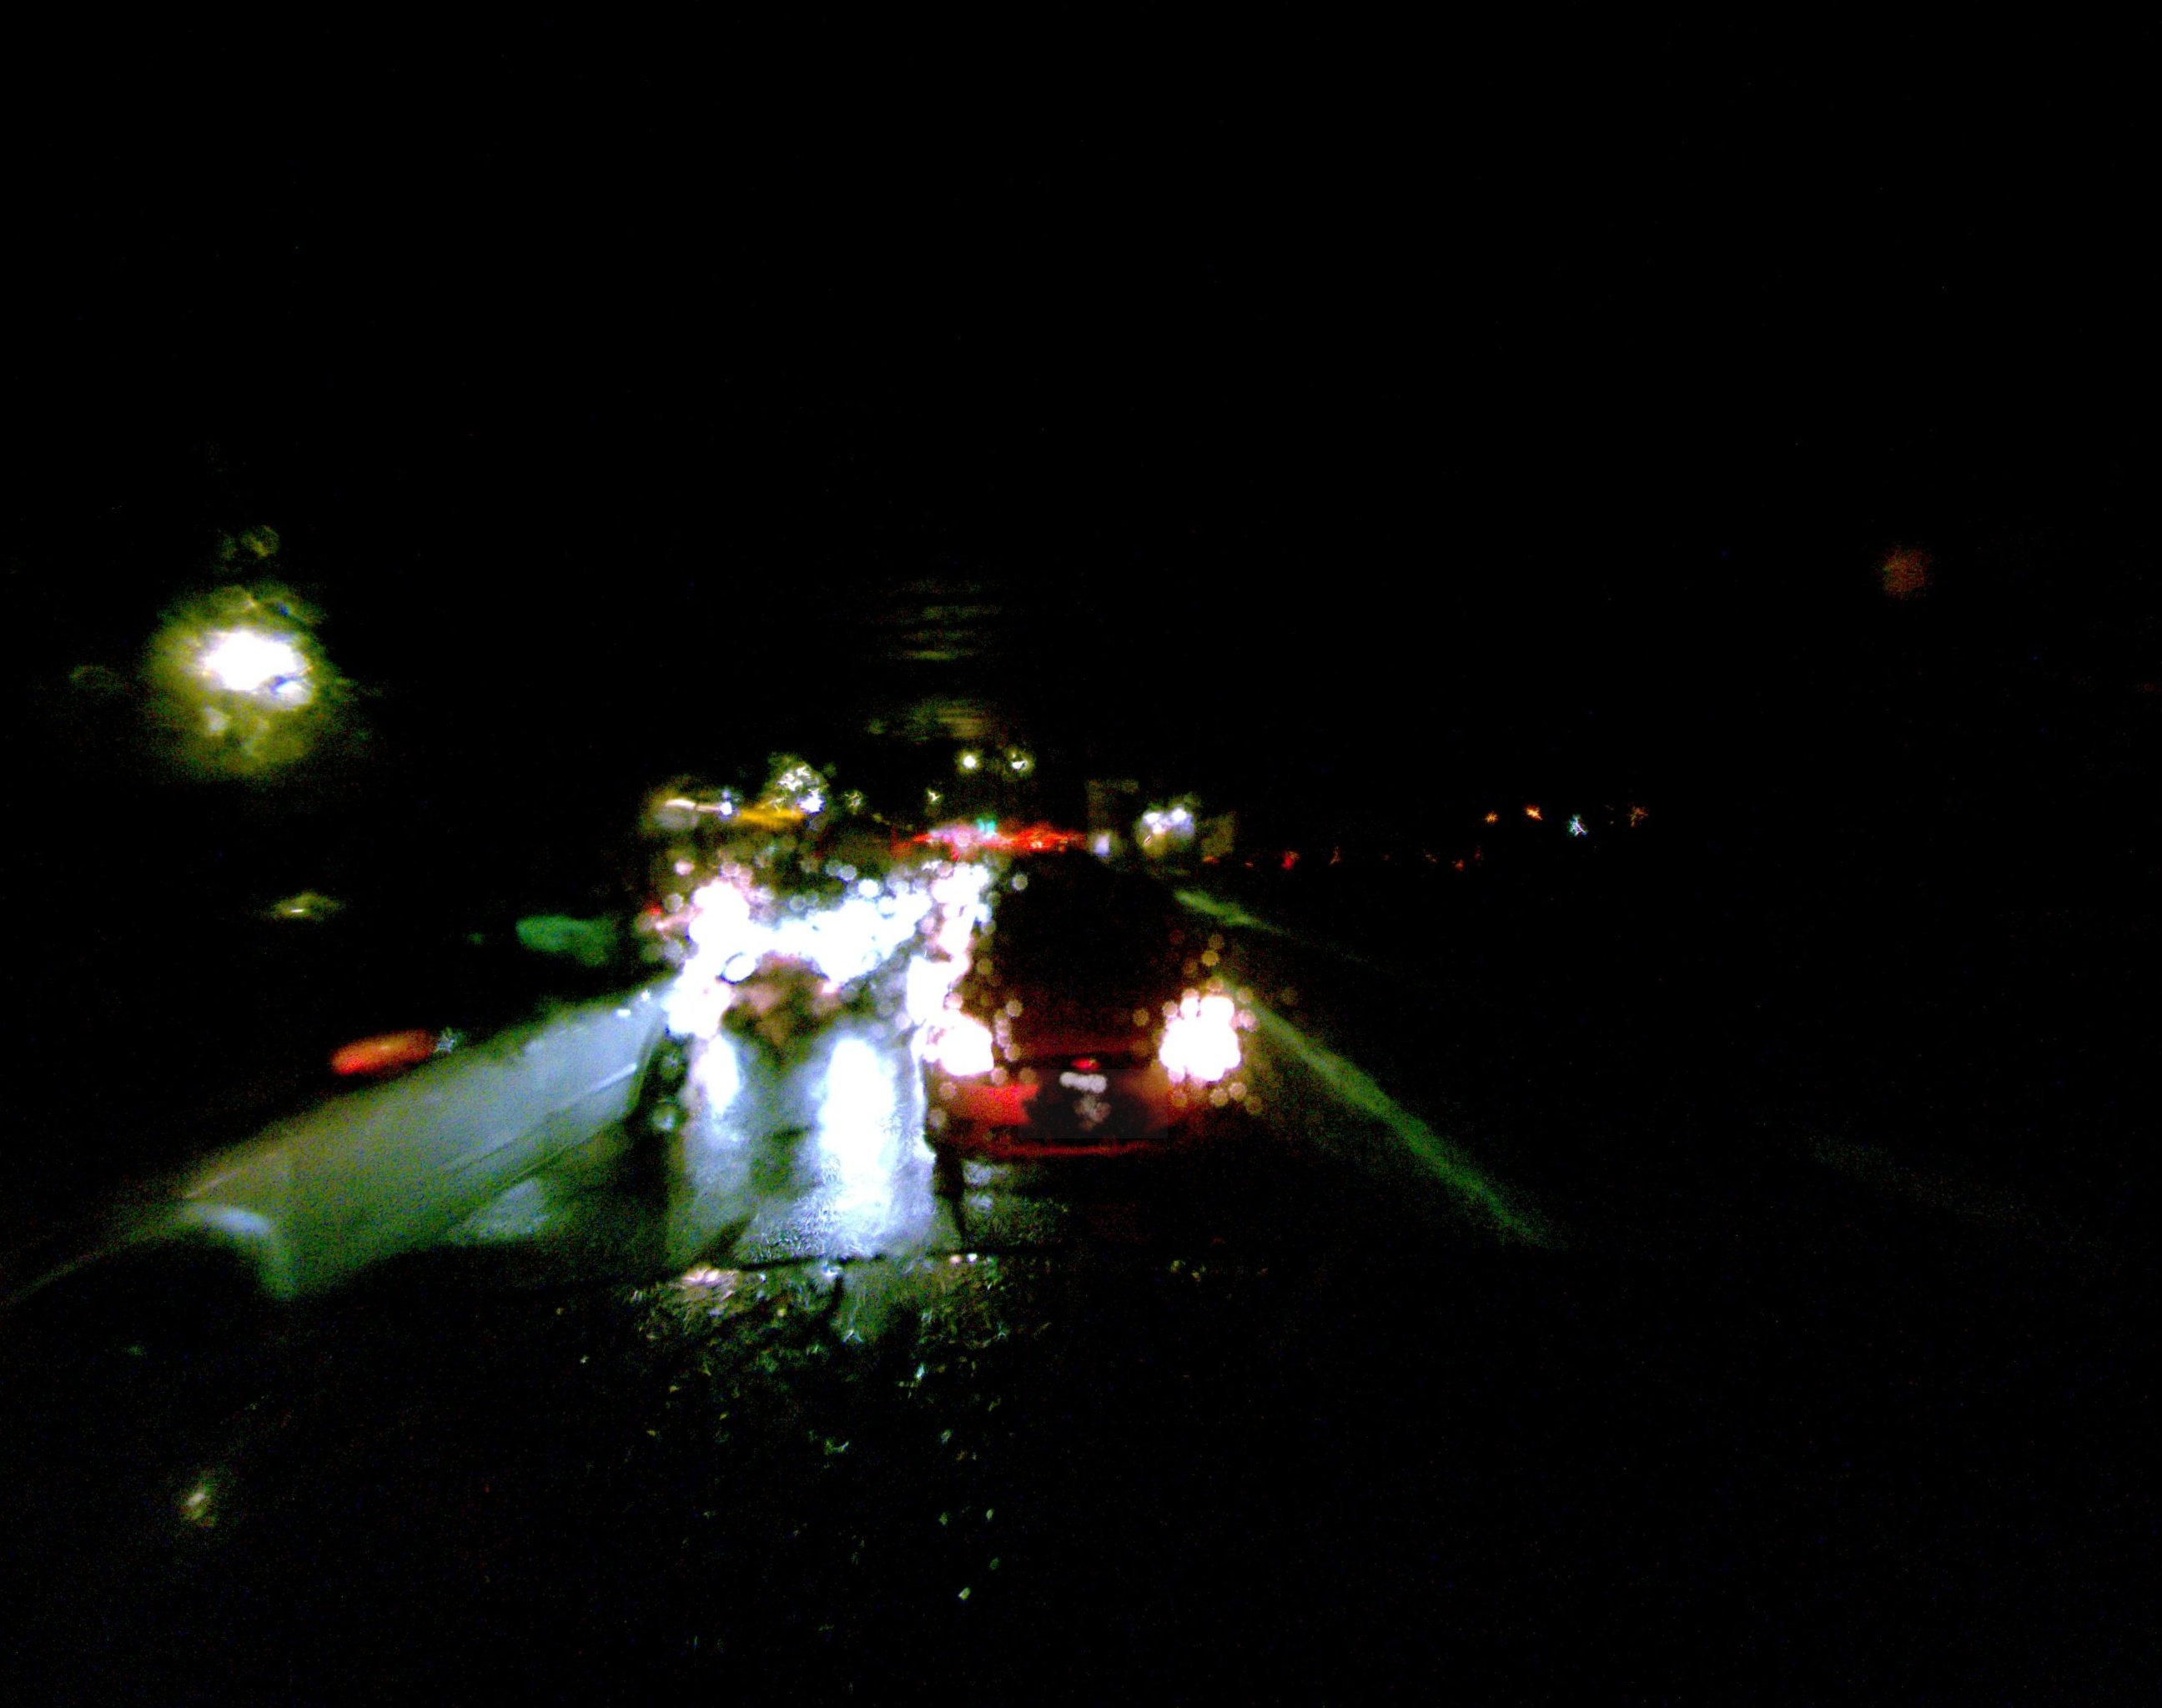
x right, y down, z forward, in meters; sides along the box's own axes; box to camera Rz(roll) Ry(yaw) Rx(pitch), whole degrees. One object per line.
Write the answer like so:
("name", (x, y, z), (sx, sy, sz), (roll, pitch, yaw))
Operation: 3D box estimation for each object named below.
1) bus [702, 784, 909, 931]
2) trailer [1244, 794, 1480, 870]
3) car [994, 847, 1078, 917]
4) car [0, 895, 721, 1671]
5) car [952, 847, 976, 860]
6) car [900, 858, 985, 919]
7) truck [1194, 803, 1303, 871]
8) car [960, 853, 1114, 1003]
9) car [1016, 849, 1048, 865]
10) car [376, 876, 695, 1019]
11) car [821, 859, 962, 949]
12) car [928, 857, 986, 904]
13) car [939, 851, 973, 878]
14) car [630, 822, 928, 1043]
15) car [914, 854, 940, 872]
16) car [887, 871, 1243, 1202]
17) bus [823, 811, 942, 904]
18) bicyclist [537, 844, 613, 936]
("bus", (-7.133, 0.088, 21.529), (2.777, 3.105, 9.758), (-2, 0, -4))
("trailer", (17.899, -1.337, 49.680), (13.896, 4.152, 3.973), (-2, 1, 13))
("car", (-1.114, 0.636, 19.700), (1.881, 1.534, 3.999), (-2, 1, -2))
("car", (-3.172, 1.024, 2.706), (1.792, 1.359, 3.999), (-2, 2, 0))
("car", (-15.638, -0.074, 101.228), (1.826, 1.595, 4.134), (-3, 1, -29))
("car", (-3.923, 0.914, 22.170), (1.629, 1.494, 3.999), (-2, 1, 1))
("truck", (11.367, -1.098, 51.315), (6.361, 4.152, 3.975), (-2, 1, 24))
("car", (-0.469, 0.840, 10.615), (1.683, 1.591, 3.996), (-2, 1, 1))
("car", (-5.232, 0.317, 80.735), (2.002, 1.596, 3.992), (-3, 1, -25))
("car", (-6.947, 1.083, 10.244), (1.755, 1.422, 3.758), (-1, 0, -4))
("car", (-3.743, 0.934, 15.737), (1.869, 1.503, 3.766), (-2, 1, 1))
("car", (-4.396, 0.895, 27.383), (1.683, 1.463, 3.998), (-2, 1, -4))
("car", (-7.768, 0.620, 47.377), (1.743, 1.581, 3.997), (-2, 1, -6))
("car", (-3.371, 0.739, 9.575), (1.999, 2.076, 4.347), (-2, 1, -1))
("car", (-13.841, 0.759, 68.305), (1.883, 1.463, 3.994), (-3, 1, -16))
("car", (-0.048, 0.897, 5.505), (1.603, 1.360, 3.942), (-2, 1, 1))
("bus", (-7.765, 0.138, 31.211), (2.777, 3.105, 9.758), (-2, 0, -4))
("bicyclist", (-10.003, 0.690, 15.054), (0.798, 1.752, 0.901), (-2, 1, 1))
